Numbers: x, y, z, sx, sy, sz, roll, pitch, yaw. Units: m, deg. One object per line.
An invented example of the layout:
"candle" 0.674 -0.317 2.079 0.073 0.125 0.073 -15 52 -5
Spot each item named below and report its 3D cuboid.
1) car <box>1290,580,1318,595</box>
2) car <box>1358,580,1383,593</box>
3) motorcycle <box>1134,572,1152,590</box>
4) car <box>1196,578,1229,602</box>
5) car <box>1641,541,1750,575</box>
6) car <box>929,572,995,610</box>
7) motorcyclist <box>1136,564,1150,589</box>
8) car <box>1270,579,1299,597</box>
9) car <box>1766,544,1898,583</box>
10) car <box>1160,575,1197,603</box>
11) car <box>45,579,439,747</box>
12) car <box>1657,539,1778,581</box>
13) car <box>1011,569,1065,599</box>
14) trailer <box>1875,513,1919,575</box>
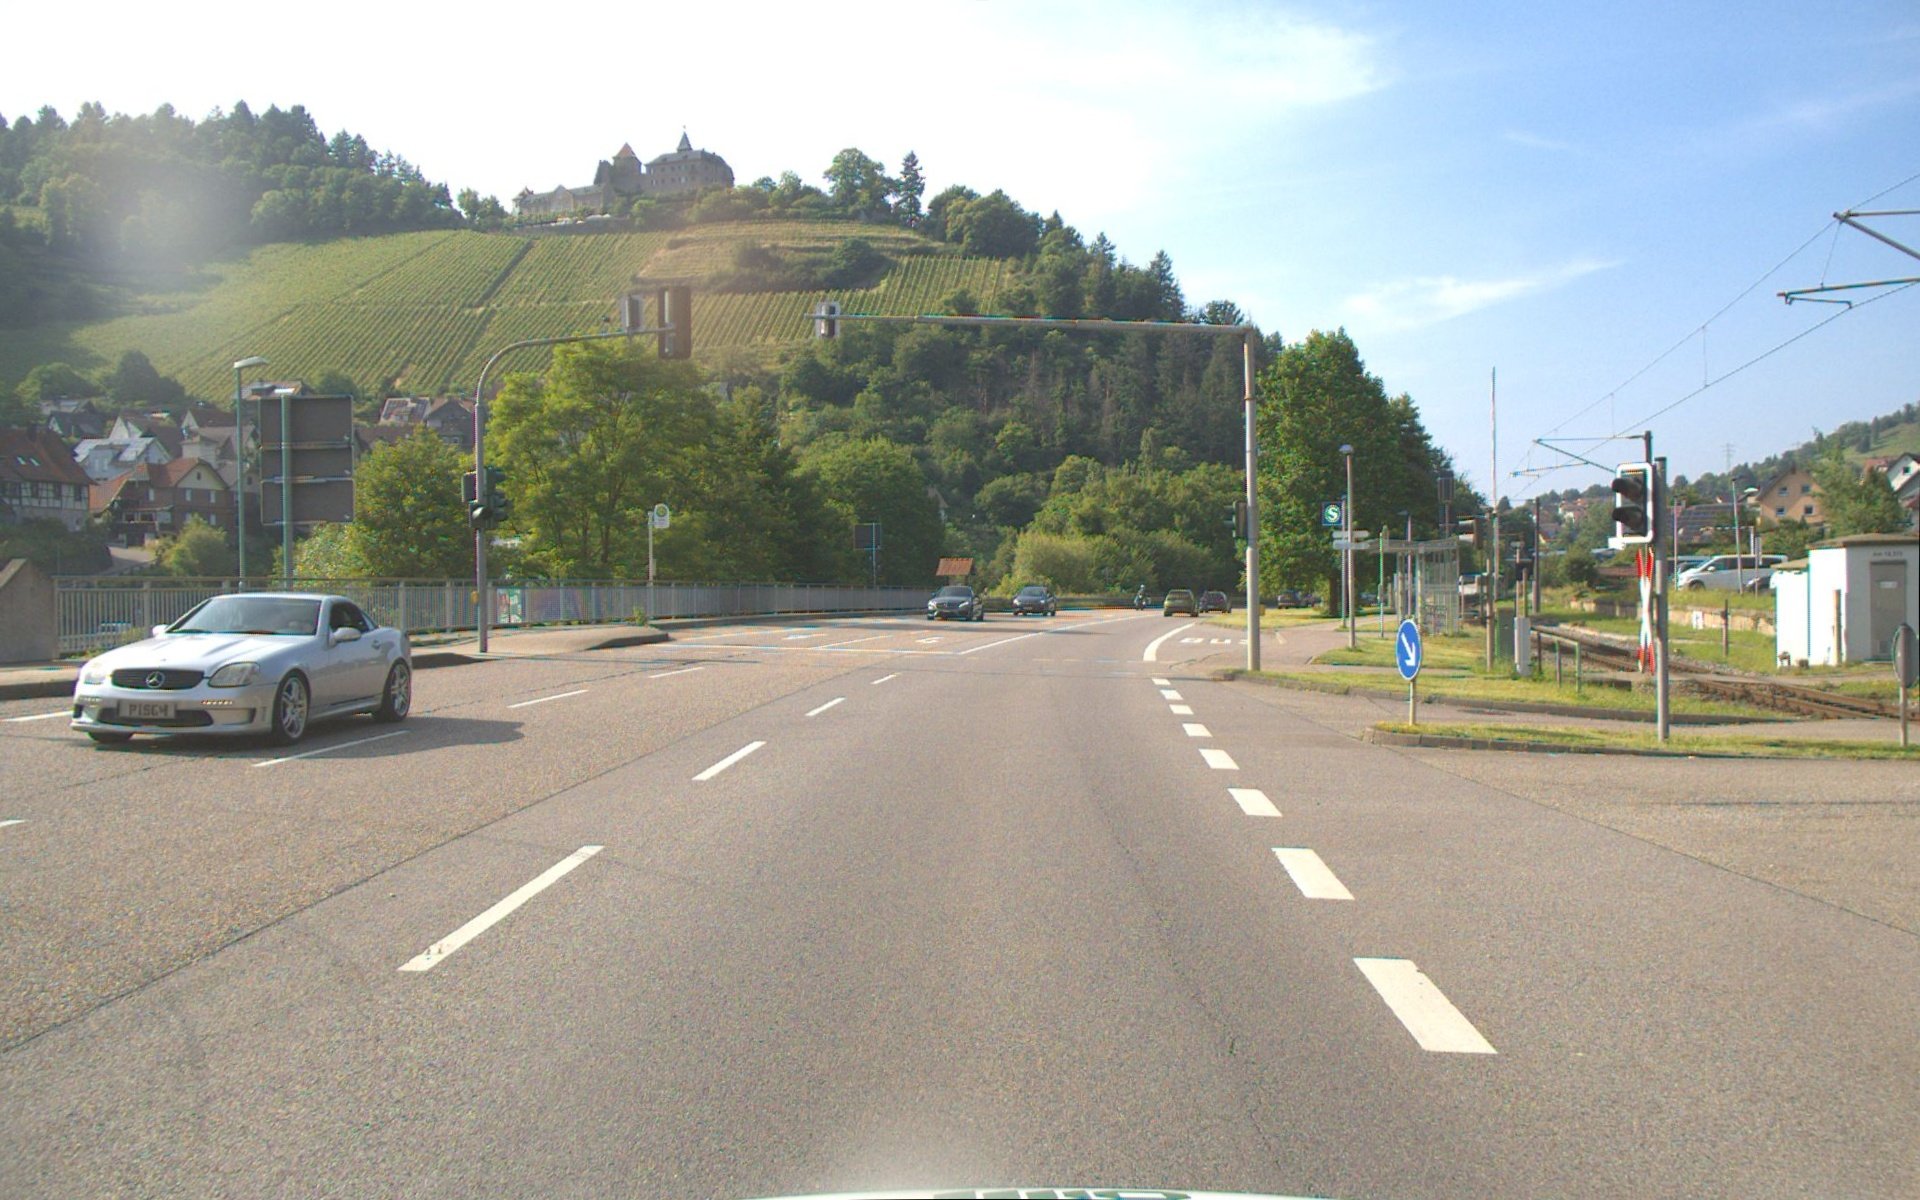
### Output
"car" 34.851 -1.265 167.352 1.643 1.485 4.196 1 1 28
"car" 49.021 -1.621 197.602 1.816 1.495 4.535 2 2 29
"motorcycle" 13.401 -1.423 121.096 0.952 1.242 2.574 1 2 15
"car" 17.119 -0.683 112.065 1.801 1.485 3.716 -2 1 16
"car" 37.837 -2.184 85.183 4.846 1.720 1.938 0 1 15
"car" 0.108 -0.403 67.792 1.733 1.401 4.649 2 2 12
"motorcyclist" 13.364 -1.722 120.989 0.827 1.815 1.172 1 1 15
"car" 28.518 -1.044 145.247 1.770 1.478 3.646 -2 1 23
"car" 32.177 -1.359 61.135 4.009 1.422 1.811 0 1 15
"car" 12.317 -0.609 93.125 1.691 1.482 3.413 -2 1 14
"car" -6.323 0.470 15.111 1.611 1.253 4.096 0 2 3
"car" 35.635 -1.885 77.927 4.846 1.977 2.143 0 1 15
"car" 4.065 -0.849 85.687 1.747 1.504 4.757 1 1 16
"trailer" 63.986 -3.769 112.242 2.561 3.961 7.709 -1 1 34
